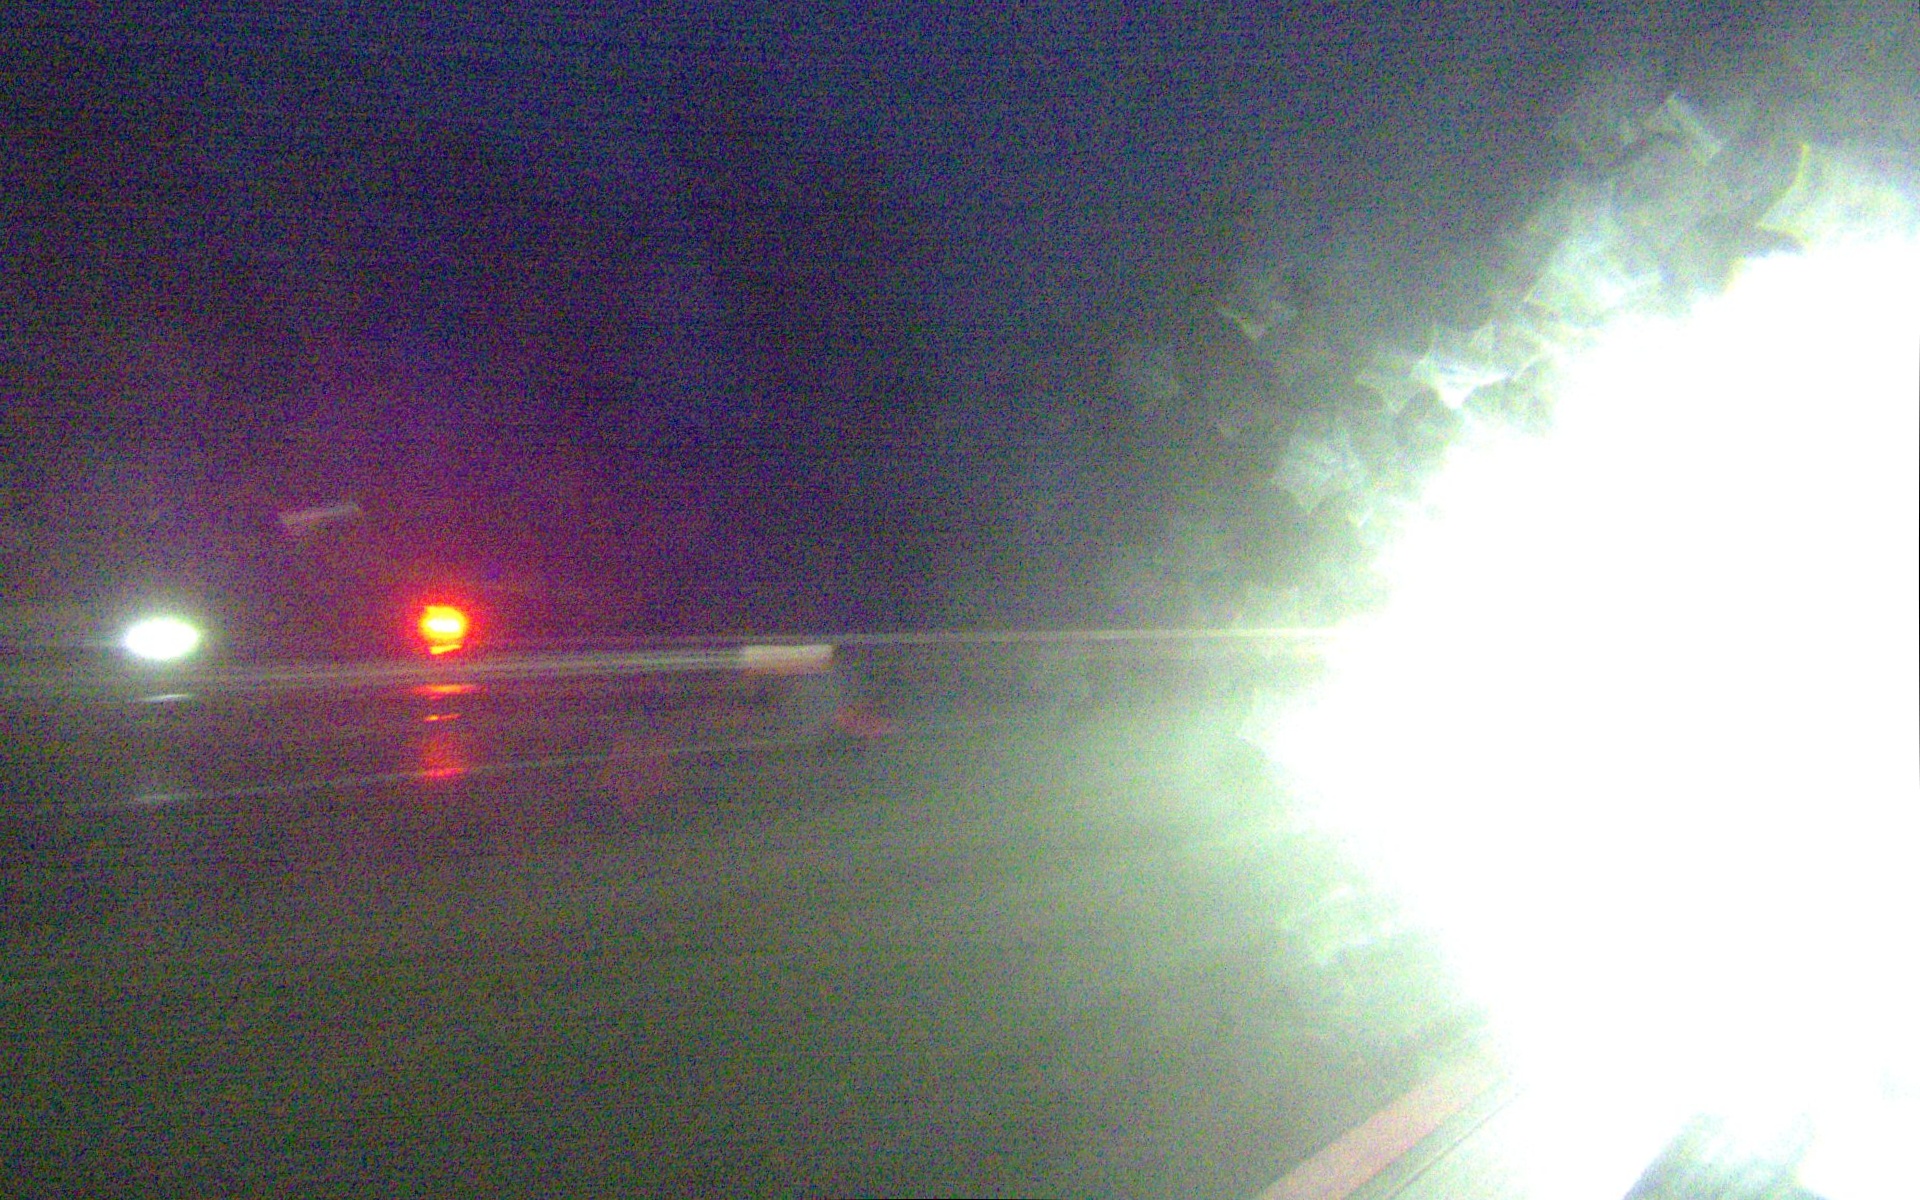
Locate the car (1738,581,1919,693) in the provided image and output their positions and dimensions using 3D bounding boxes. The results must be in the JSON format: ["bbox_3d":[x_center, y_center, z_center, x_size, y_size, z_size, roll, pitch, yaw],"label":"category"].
[{"bbox_3d":[14.581,0.600,16.721,3.611,1.645,1.847,1,-3,-38],"label":"car"}]

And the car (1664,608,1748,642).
[{"bbox_3d":[36.926,1.223,50.084,3.921,1.571,2.000,0,-3,-32],"label":"car"}]

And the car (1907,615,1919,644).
[{"bbox_3d":[68.137,2.039,70.713,3.924,2.040,1.999,0,-3,-35],"label":"car"}]

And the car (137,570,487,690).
[{"bbox_3d":[-12.055,0.558,19.332,5.338,2.040,2.071,1,-2,-29],"label":"car"}]
